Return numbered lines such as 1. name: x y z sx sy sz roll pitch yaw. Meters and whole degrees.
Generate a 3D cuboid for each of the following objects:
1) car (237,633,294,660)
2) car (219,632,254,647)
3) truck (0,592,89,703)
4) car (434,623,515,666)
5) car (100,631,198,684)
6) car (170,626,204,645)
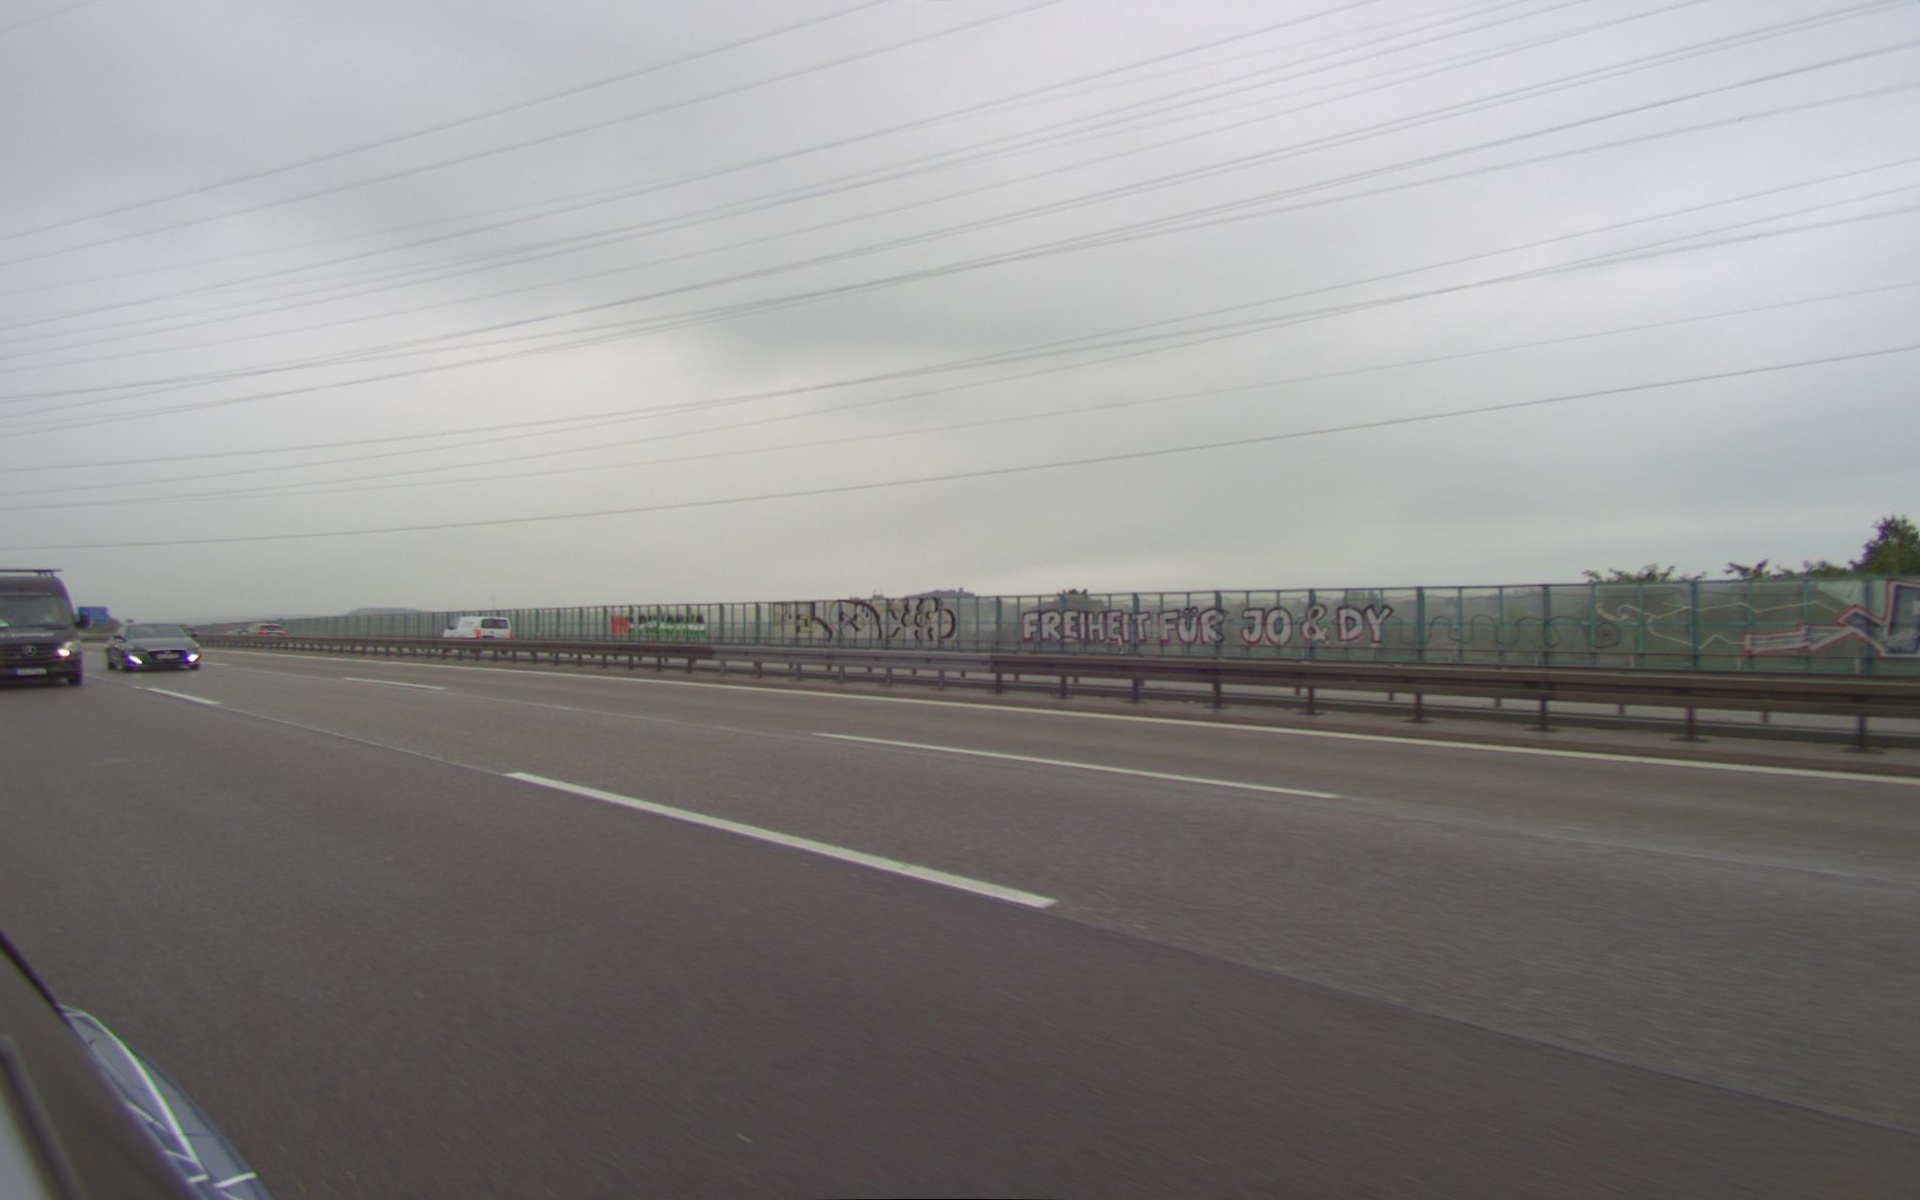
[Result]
1. car: -43.783 2.910 63.769 4.213 1.569 1.972 -1 0 42
2. car: -72.897 3.976 101.967 4.466 1.441 1.822 -1 -4 42
3. truck: -22.467 1.036 23.914 6.107 2.355 1.973 -1 -1 41
4. car: -25.211 2.243 52.442 5.009 2.029 1.973 -1 0 41
5. car: -24.300 1.710 30.261 4.830 1.413 1.706 -3 -2 44
6. car: -76.473 3.528 100.081 4.466 1.757 1.822 -1 -4 42
